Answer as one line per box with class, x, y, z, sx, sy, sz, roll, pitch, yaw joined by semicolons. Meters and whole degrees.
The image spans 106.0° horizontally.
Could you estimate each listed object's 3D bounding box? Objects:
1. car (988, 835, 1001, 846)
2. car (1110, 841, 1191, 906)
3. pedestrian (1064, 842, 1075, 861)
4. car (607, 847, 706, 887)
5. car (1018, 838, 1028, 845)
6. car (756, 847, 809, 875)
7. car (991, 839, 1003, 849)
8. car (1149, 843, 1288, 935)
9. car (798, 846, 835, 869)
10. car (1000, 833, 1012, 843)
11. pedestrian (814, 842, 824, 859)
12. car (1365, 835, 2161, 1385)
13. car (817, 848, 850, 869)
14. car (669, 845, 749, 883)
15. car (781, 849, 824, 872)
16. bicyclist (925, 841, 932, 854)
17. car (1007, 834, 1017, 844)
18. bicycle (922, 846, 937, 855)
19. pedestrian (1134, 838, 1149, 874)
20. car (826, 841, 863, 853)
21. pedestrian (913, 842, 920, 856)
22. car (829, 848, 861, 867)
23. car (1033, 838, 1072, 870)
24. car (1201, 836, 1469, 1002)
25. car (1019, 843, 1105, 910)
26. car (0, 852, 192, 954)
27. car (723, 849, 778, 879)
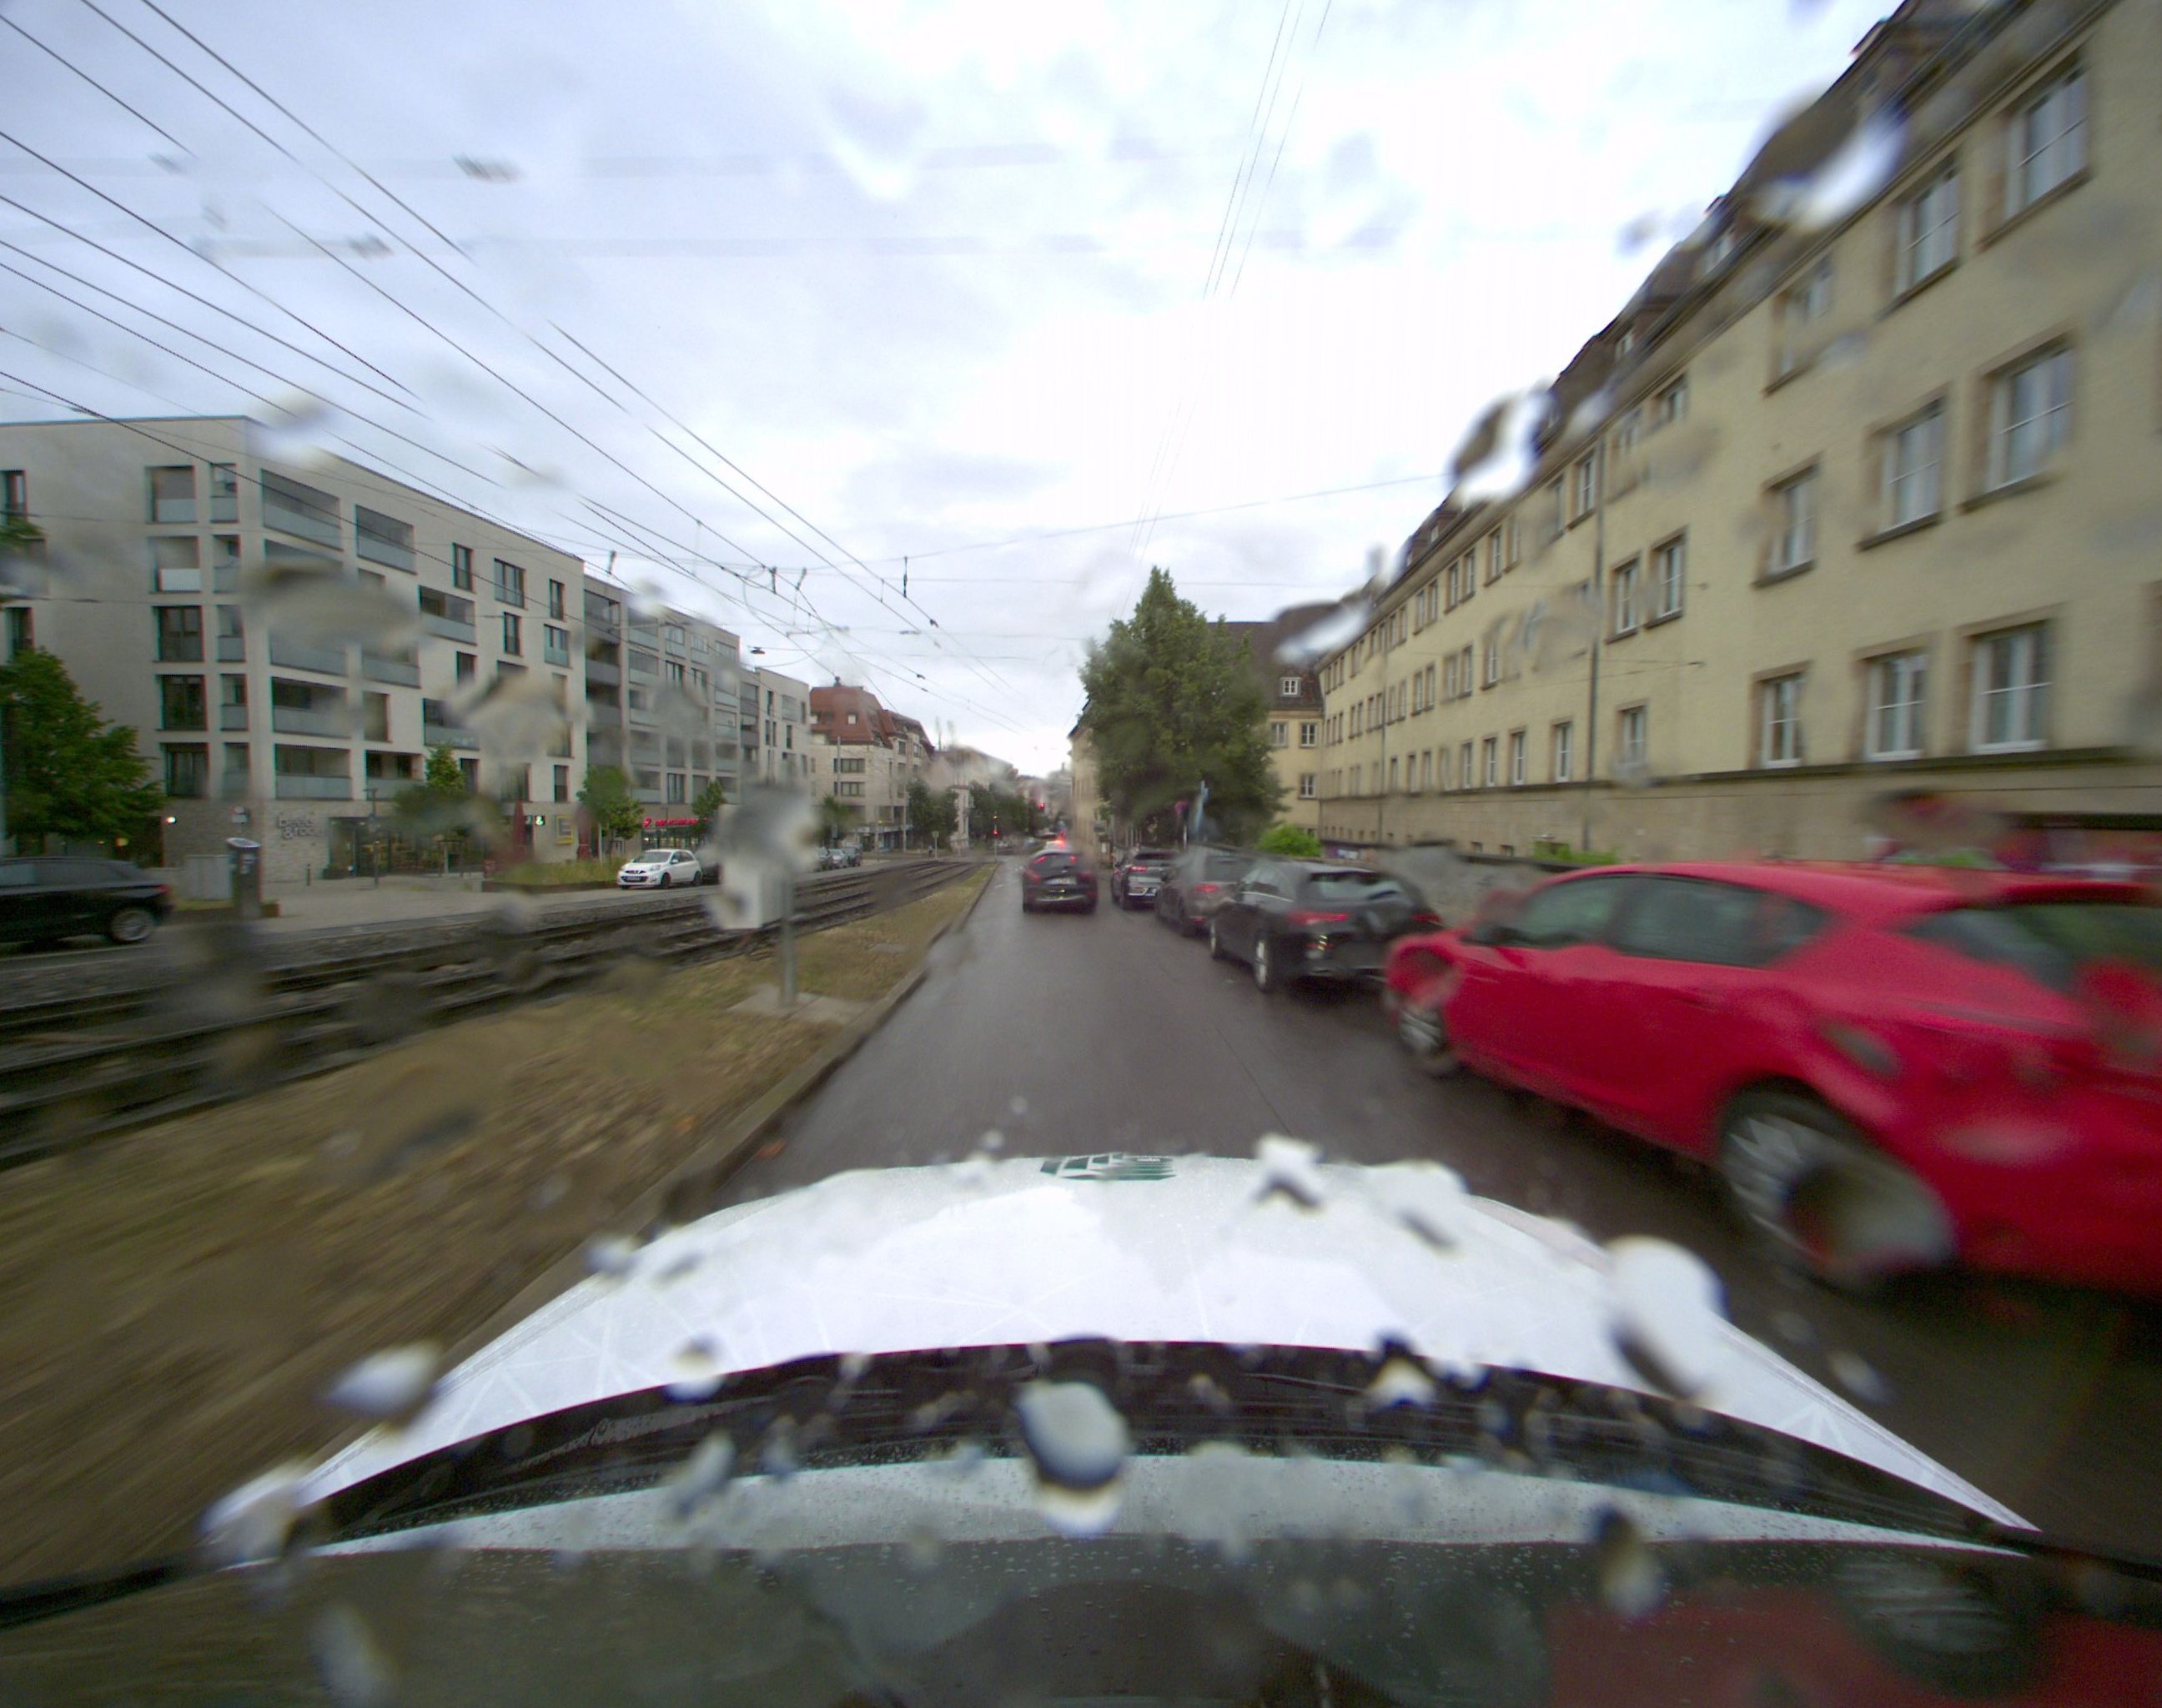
car;-16.679;-2.544;157.036;1.987;2.013;4.000;0;1;0
car;1.759;0.443;21.673;1.661;1.524;4.106;-1;1;-2
pedestrian;-1.120;-0.272;79.301;1.044;1.795;0.900;0;1;-7
car;-16.461;0.464;31.759;1.758;1.479;3.737;0;0;2
car;-13.805;-2.930;194.089;1.987;1.662;4.000;0;1;0
car;-16.976;0.372;46.523;1.716;1.513;4.312;0;0;-4
car;-16.783;-1.955;163.387;1.987;2.013;4.000;-1;1;0
car;2.456;0.556;15.547;1.662;1.476;4.102;-1;1;-5
car;-18.231;0.217;56.311;1.772;1.504;3.910;-1;0;-8
car;-15.636;-3.257;169.904;1.987;2.013;4.000;0;1;0
pedestrian;-30.085;-0.403;93.543;0.941;2.013;0.762;0;1;-9
car;3.210;0.675;4.301;1.663;1.476;4.058;1;0;-6
car;-18.563;0.301;61.256;1.772;1.504;4.072;-1;0;-8
car;-16.420;0.394;36.162;1.762;1.561;4.399;0;0;-4
car;-17.577;0.401;51.504;1.546;1.362;4.004;1;0;-4
bicyclist;-18.628;-0.736;99.295;0.705;1.574;0.457;1;0;-41
car;-15.327;-3.305;180.862;1.987;2.013;4.000;0;1;0
bicycle;-18.528;-0.389;99.395;1.812;1.064;0.452;0;1;-41
pedestrian;2.905;0.106;39.411;0.631;1.721;0.710;0;0;-4
car;-30.549;-0.914;105.251;4.115;1.568;1.825;0;1;3
pedestrian;-22.085;-0.675;109.375;0.904;1.931;0.823;0;1;-9
car;-19.582;0.232;67.757;1.911;1.504;4.225;-1;0;-8
car;-1.589;-0.059;47.087;2.130;1.745;4.217;-1;1;0
car;2.659;0.562;9.675;1.661;1.476;4.454;-1;1;-2
car;-0.585;0.494;20.800;1.917;1.479;3.993;-1;1;-5
car;-16.589;0.720;12.110;1.957;1.431;4.204;1;1;4
car;-16.781;0.462;41.503;1.546;1.435;3.446;0;0;-4
